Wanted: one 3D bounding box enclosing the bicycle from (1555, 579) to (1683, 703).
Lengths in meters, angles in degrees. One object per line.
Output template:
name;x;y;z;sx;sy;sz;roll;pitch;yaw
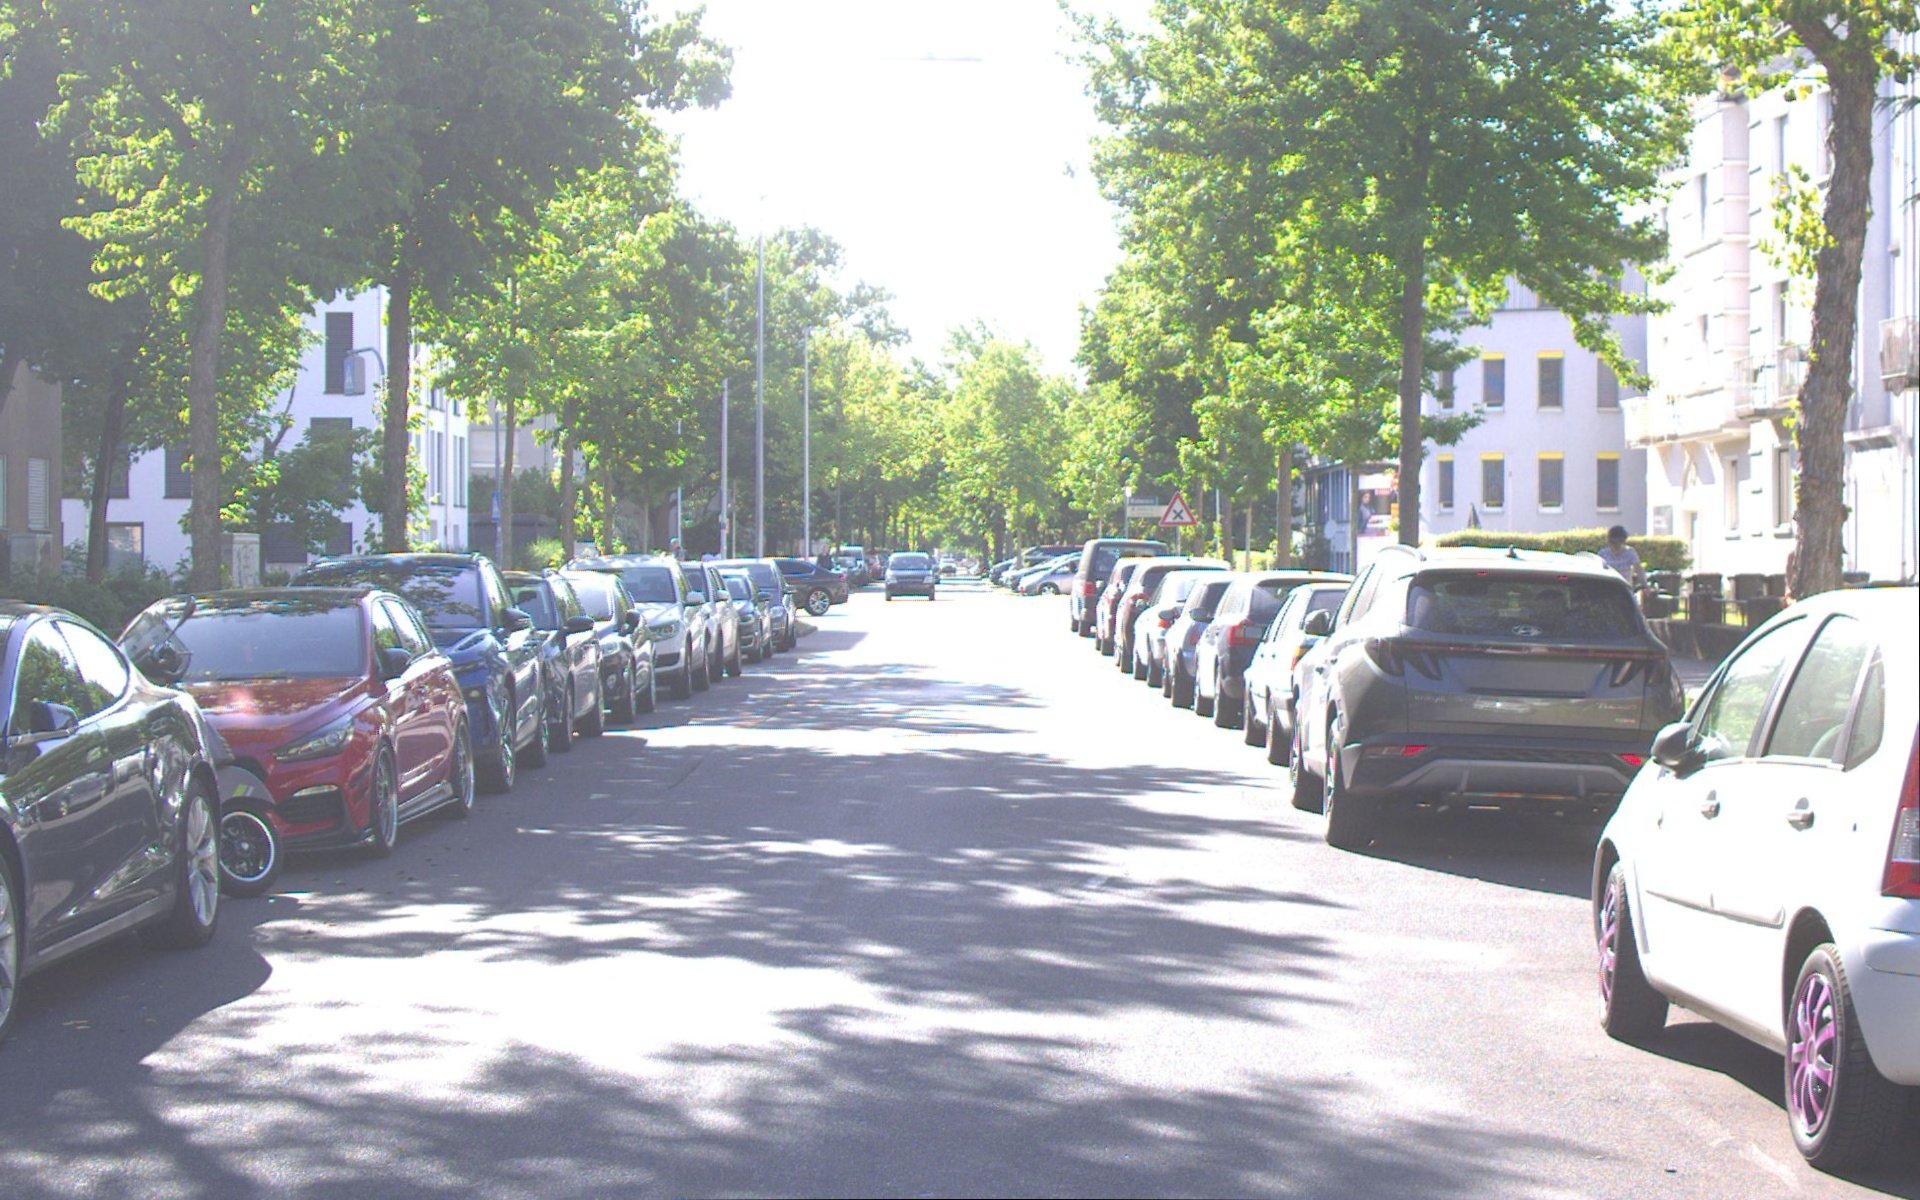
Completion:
bicycle;6.471;0.384;33.854;0.683;1.149;2.403;0;1;-3

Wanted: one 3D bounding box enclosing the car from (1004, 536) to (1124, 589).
car;3.538;-1.282;117.686;3.986;1.799;1.890;0;1;-2

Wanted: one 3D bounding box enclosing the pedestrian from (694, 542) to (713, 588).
pedestrian;-10.588;-1.461;141.823;0.762;1.894;0.819;0;1;-6

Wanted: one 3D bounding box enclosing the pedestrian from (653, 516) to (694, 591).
pedestrian;-7.635;-1.239;91.604;0.859;2.007;0.981;0;1;9

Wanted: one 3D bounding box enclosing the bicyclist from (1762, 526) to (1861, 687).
bicyclist;8.356;0.056;33.761;0.676;1.548;1.022;0;1;-3

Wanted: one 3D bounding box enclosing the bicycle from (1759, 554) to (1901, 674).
bicycle;9.355;0.131;37.063;0.838;1.253;2.232;1;1;-3

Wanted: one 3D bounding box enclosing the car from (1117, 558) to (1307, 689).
car;3.116;0.257;43.374;1.897;1.469;4.700;3;1;-1

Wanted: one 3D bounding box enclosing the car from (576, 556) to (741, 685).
car;-3.886;0.232;44.906;1.710;1.539;3.930;-2;1;1

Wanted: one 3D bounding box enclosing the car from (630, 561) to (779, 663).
car;-3.956;0.157;53.895;1.993;1.448;4.262;-2;1;0

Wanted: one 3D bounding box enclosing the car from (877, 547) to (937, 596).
car;-1.790;-0.964;115.138;1.783;1.603;4.001;0;1;-4

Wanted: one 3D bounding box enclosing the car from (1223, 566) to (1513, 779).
car;3.163;0.510;27.445;1.751;1.449;4.462;3;1;0

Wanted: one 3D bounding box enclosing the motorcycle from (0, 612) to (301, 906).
motorcycle;-4.233;0.733;15.874;2.285;1.266;0.808;-2;1;-10

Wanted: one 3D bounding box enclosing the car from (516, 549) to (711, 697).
car;-3.922;0.216;39.510;1.811;1.590;4.233;-1;1;0

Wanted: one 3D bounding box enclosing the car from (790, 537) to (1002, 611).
car;-1.593;-0.658;86.984;5.070;1.815;2.000;0;1;-34

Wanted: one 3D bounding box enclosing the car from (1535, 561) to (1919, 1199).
car;2.958;0.693;10.348;1.654;1.527;3.969;2;1;-1

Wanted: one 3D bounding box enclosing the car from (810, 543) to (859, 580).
car;-5.506;-1.698;151.183;1.993;1.579;4.000;0;1;0

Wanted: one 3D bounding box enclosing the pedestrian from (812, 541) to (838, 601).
pedestrian;-4.290;-0.940;109.421;0.715;1.894;0.837;0;1;-9

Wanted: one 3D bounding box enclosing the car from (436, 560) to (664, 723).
car;-3.952;0.357;33.696;1.762;1.439;3.909;-2;1;0

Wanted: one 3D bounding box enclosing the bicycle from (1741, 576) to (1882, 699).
bicycle;8.350;0.346;33.818;0.683;1.149;2.403;0;1;-3

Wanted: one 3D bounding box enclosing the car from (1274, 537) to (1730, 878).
car;2.970;0.497;19.928;1.926;1.646;5.095;2;1;2

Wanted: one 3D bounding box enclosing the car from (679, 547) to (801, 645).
car;-3.800;-0.100;59.962;1.839;1.589;4.262;-2;1;0

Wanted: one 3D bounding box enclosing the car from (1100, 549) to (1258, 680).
car;3.099;0.170;49.383;1.907;1.693;4.313;3;1;0

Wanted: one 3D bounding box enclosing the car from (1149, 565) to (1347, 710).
car;3.078;0.369;37.374;1.788;1.448;3.782;1;1;0

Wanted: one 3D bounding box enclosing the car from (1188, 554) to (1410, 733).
car;3.186;0.362;33.085;1.692;1.535;4.441;1;1;0

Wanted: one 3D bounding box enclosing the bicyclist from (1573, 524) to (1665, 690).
bicyclist;6.469;0.059;33.775;0.677;1.604;0.922;0;1;-3

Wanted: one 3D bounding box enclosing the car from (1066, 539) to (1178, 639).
car;3.234;-0.253;69.477;1.971;1.942;4.986;0;1;0

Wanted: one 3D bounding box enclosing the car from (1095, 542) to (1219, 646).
car;3.258;-0.130;57.625;1.834;1.594;4.158;2;1;1

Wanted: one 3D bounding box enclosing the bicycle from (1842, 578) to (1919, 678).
bicycle;9.435;0.267;34.663;0.595;0.954;1.903;-1;1;0

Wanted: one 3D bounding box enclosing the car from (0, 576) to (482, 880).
car;-3.821;0.600;18.613;1.779;1.374;4.262;-2;1;1

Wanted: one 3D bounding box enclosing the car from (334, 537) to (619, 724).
car;-4.031;0.208;29.297;1.829;1.448;4.122;-1;1;0

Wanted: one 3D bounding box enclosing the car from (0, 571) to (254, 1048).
car;-3.912;0.700;12.242;1.728;1.472;4.619;-3;1;1

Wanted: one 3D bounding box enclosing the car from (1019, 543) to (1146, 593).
car;3.995;-1.053;112.067;3.986;1.581;1.727;0;1;-3

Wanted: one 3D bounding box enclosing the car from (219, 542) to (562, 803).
car;-3.847;0.427;23.930;1.789;1.561;4.466;-3;1;-3
